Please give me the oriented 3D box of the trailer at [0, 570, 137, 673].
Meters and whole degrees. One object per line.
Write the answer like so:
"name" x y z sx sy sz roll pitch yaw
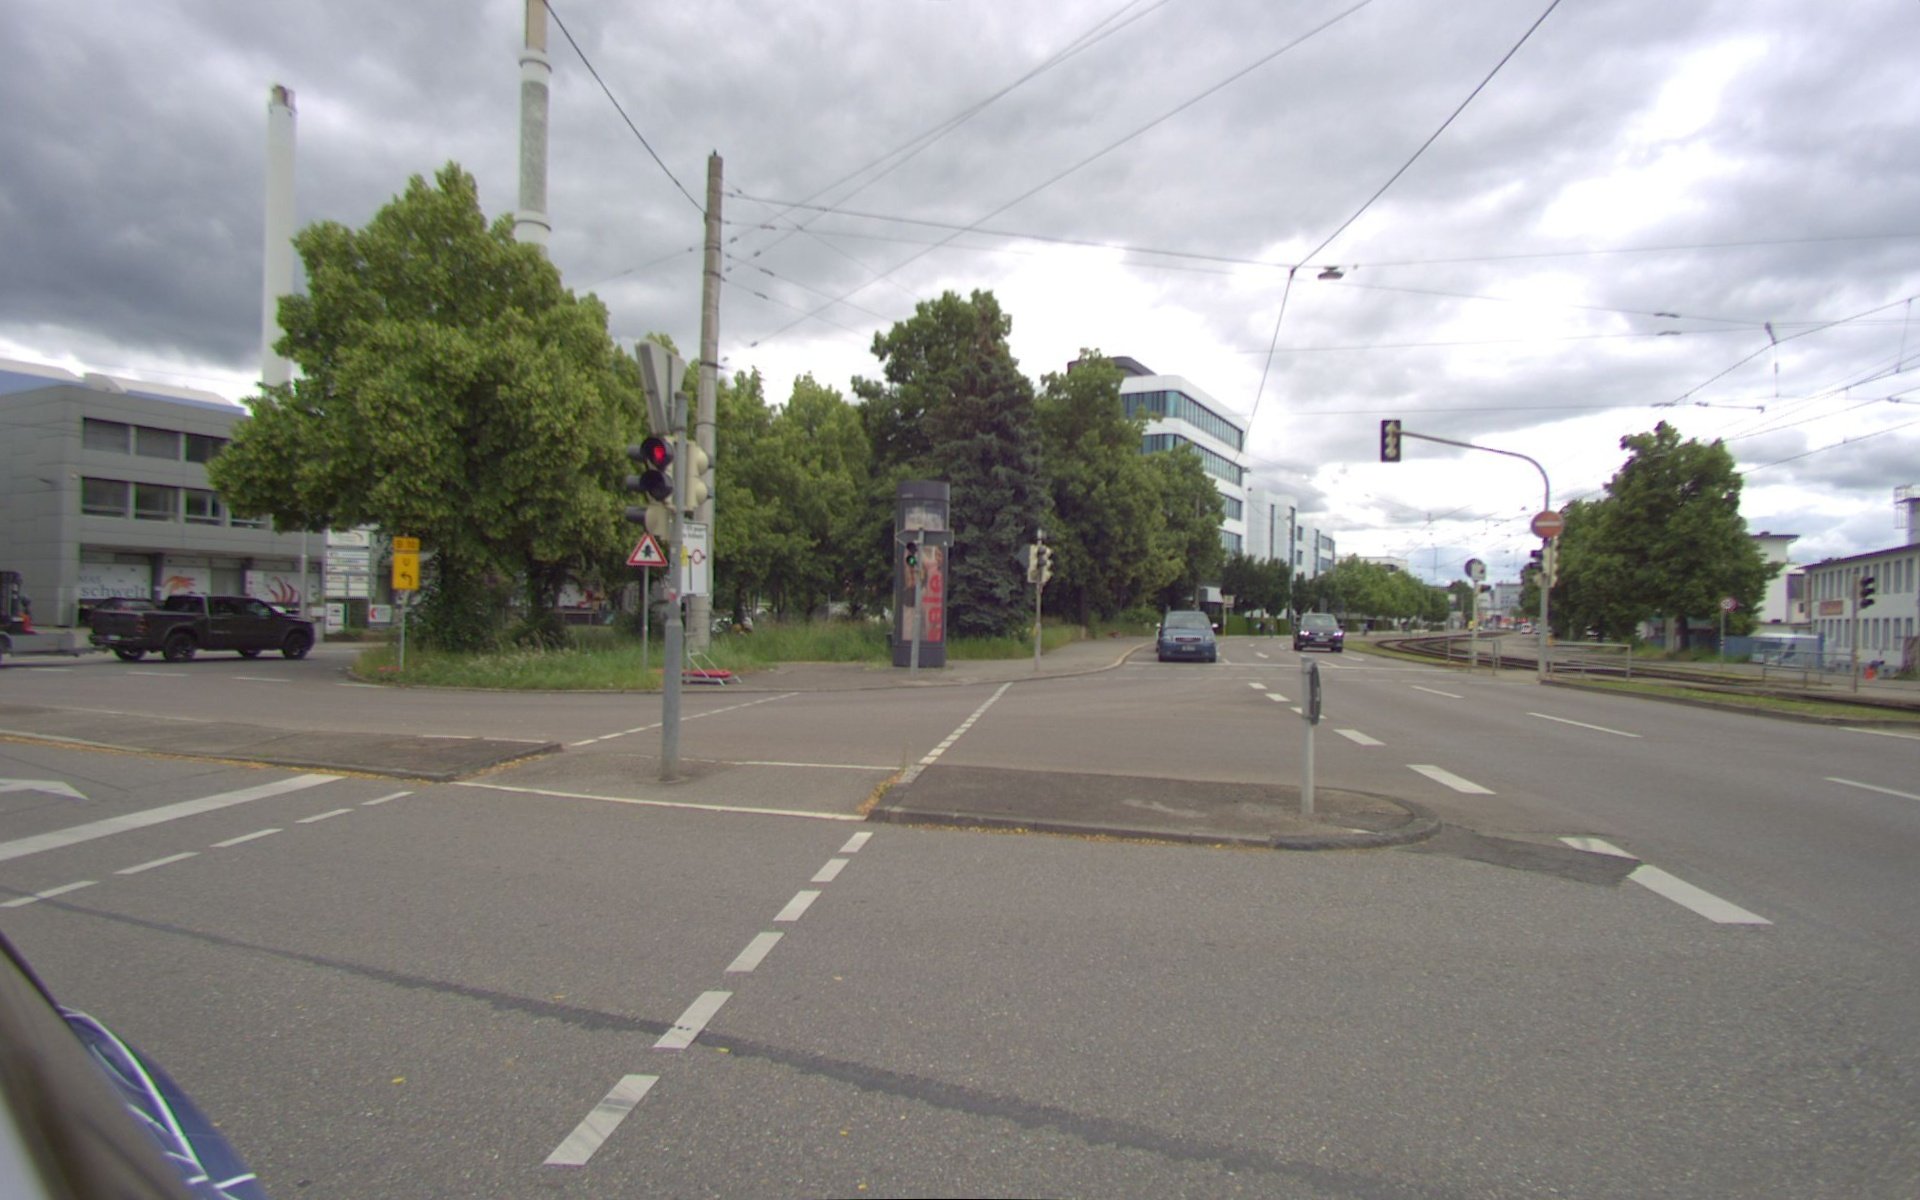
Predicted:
"trailer" -23.373 0.505 24.321 2.130 2.405 5.364 0 -1 14

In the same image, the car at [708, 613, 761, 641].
"car" -16.290 1.909 73.442 1.979 1.675 4.747 1 3 12

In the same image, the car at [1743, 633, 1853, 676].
"car" 44.680 2.865 53.960 6.191 2.117 1.755 1 -1 -22

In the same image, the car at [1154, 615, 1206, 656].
"car" 8.249 1.279 37.780 1.733 1.437 4.145 0 -1 15

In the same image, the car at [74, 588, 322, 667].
"car" -22.046 0.776 29.700 1.933 1.994 5.842 2 -1 15

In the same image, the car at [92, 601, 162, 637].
"car" -44.167 0.979 53.644 3.559 1.691 1.759 2 3 31

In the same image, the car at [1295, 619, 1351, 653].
"car" 15.325 1.482 42.666 1.623 1.342 3.140 0 -1 31

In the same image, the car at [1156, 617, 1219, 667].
"car" 6.812 1.213 30.395 1.732 1.402 3.688 0 -1 12
